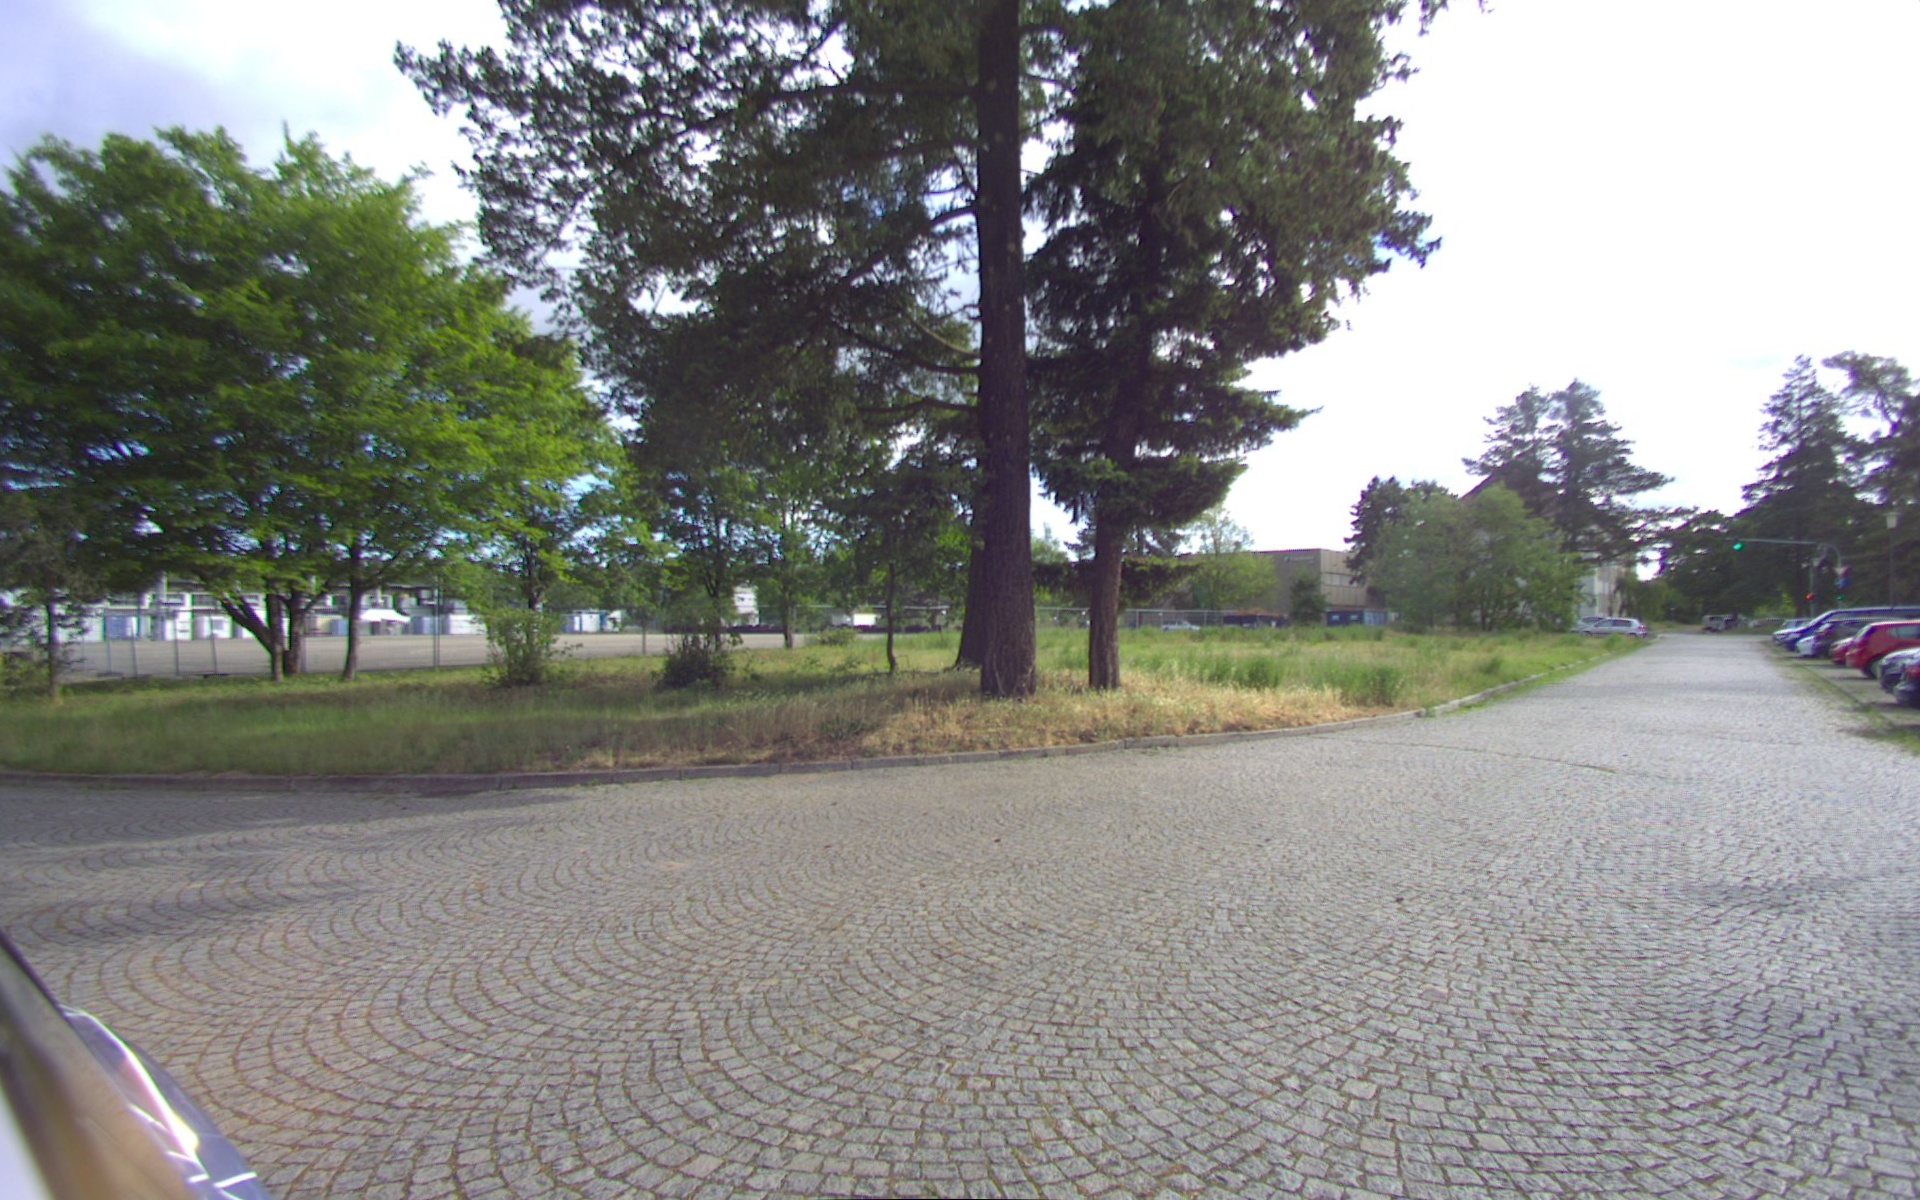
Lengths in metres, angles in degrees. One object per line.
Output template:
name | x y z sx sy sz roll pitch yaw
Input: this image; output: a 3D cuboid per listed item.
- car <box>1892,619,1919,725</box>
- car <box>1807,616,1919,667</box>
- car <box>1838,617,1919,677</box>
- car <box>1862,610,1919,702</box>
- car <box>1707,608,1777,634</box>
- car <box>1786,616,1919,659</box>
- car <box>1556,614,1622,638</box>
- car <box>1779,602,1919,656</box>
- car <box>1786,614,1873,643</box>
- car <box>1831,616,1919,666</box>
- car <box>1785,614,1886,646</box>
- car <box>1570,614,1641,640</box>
car | 15.557 0.950 13.536 4.444 1.491 1.659 -3 -3 41
car | 30.718 1.352 33.499 3.910 1.616 1.799 -1 -2 35
car | 24.586 1.150 25.240 3.890 1.490 1.650 -3 -3 37
car | 18.404 0.937 17.370 4.144 1.585 1.768 -2 -1 37
car | 87.868 2.342 113.776 5.781 2.582 2.739 -5 -3 32
car | 34.319 1.455 38.761 3.924 1.403 1.722 -5 -3 36
car | 43.484 1.819 70.039 3.717 1.449 1.610 -4 -3 30
car | 36.090 1.149 40.537 4.827 1.880 2.135 -5 -3 36
car | 50.607 1.664 58.994 3.439 1.443 1.613 -5 -3 28
car | 29.487 1.254 31.129 3.948 1.532 1.685 -2 -3 38
car | 44.289 1.527 51.292 3.560 1.427 1.621 -5 -3 31
car | 41.410 1.726 64.939 3.722 1.449 1.608 -4 -2 34
